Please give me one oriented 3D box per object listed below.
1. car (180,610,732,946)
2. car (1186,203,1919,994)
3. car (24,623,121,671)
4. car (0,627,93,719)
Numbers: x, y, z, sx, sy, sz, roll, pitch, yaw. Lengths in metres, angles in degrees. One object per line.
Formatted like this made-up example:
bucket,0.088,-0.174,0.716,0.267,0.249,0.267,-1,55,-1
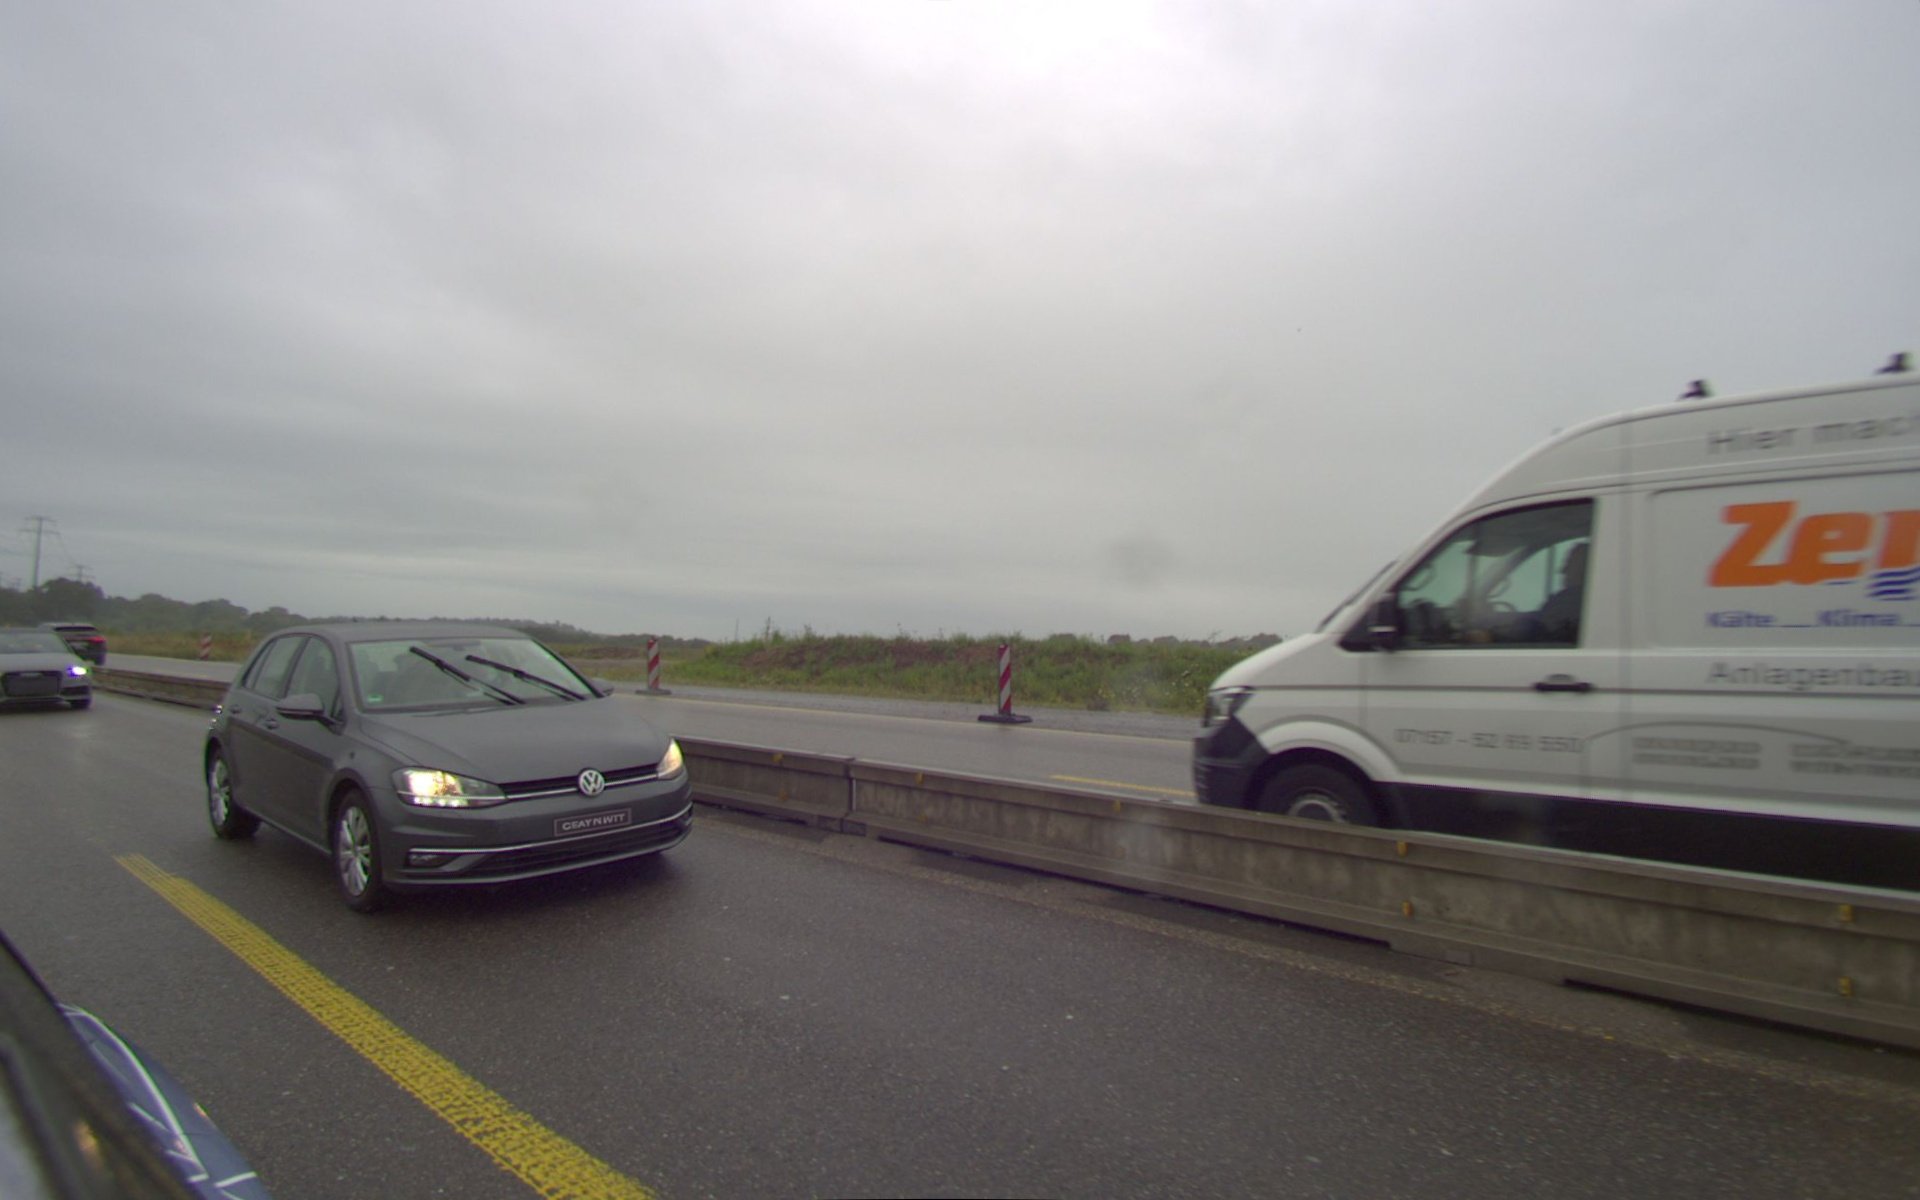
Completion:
car,-3.333,0.788,6.312,4.078,1.433,1.632,0,-1,41
car,4.163,-0.001,4.785,5.776,3.036,1.973,-2,-1,41
car,-31.033,1.597,35.344,4.577,1.507,1.875,0,0,40
car,-16.856,1.221,17.857,4.267,1.407,1.776,0,0,41
